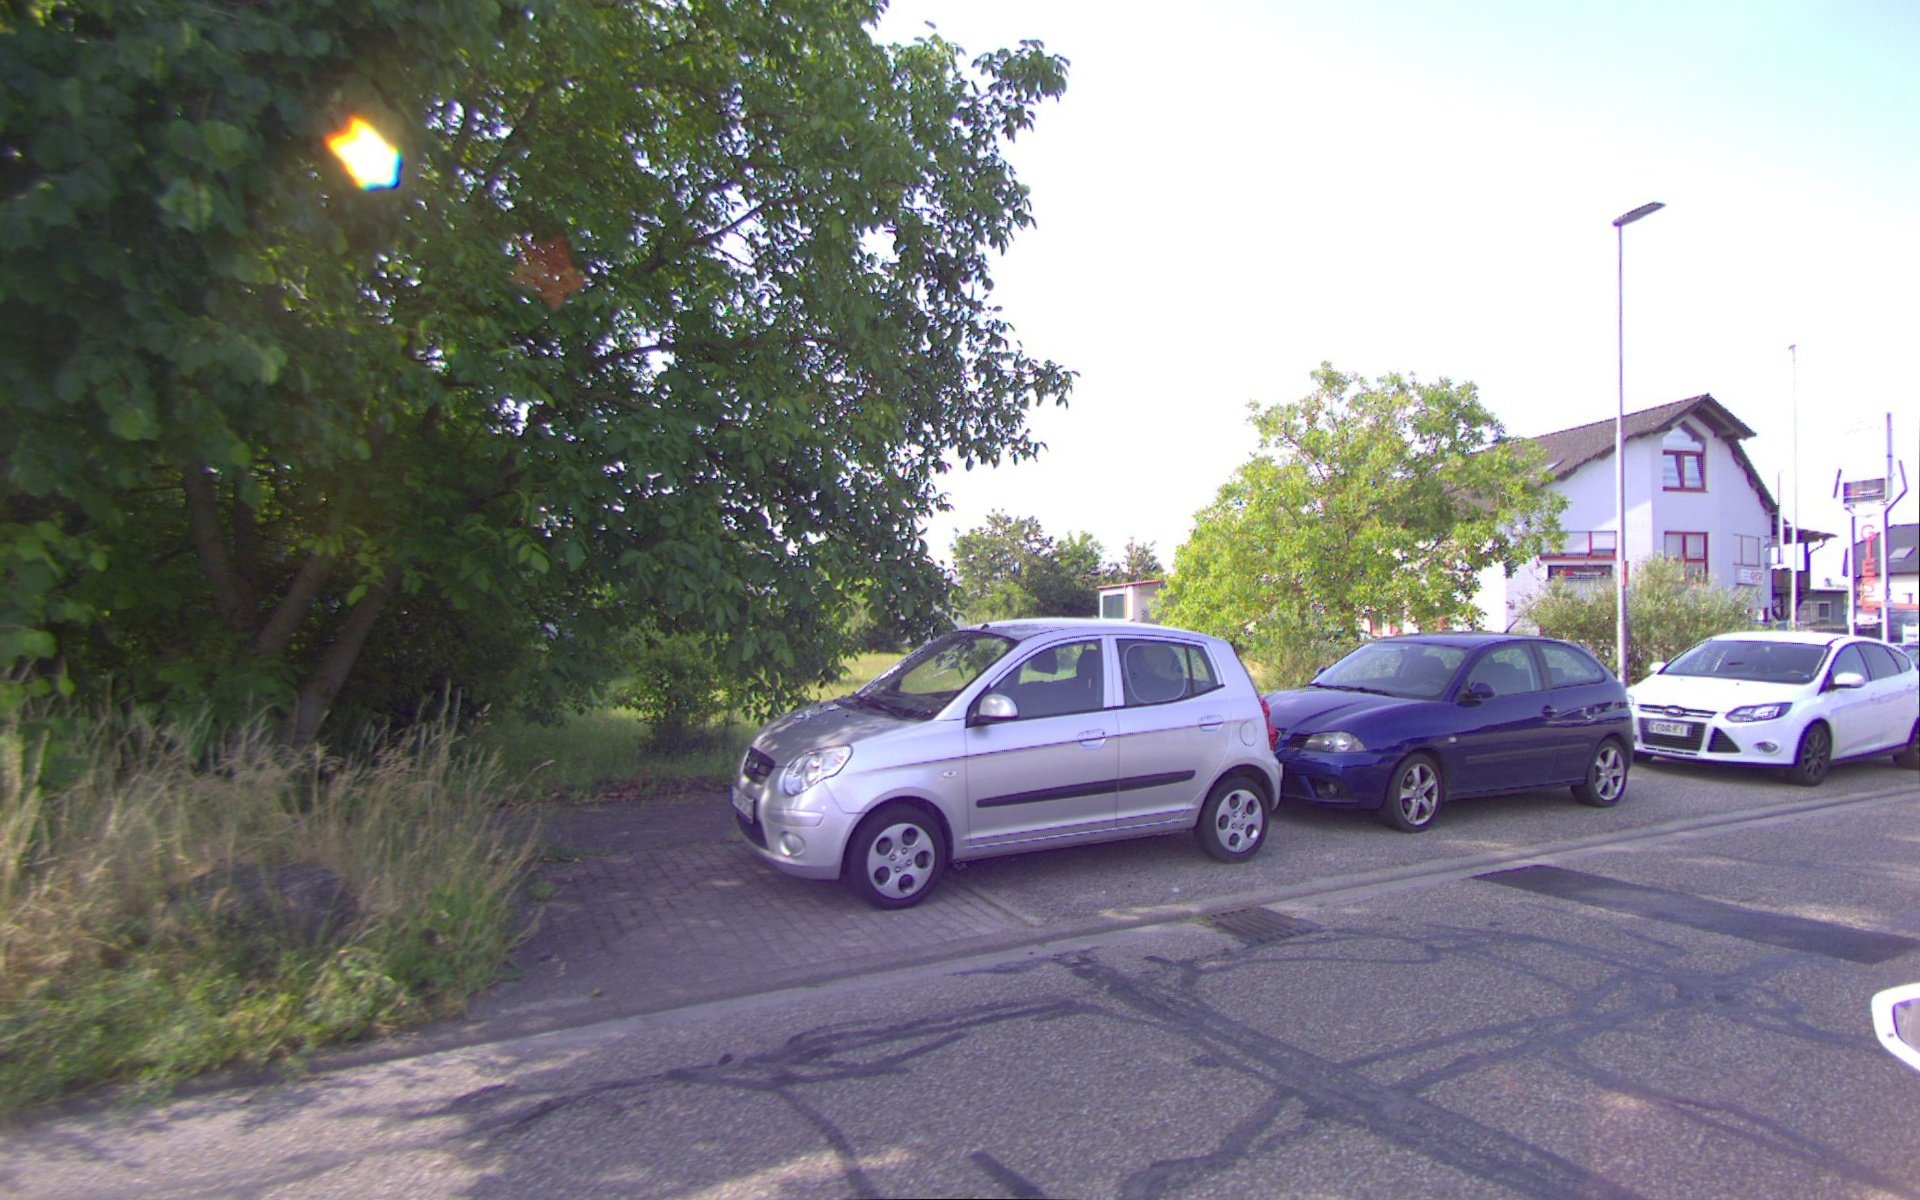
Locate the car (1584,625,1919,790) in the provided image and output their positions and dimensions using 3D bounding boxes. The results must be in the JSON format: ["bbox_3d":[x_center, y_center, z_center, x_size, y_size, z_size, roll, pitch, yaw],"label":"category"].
[{"bbox_3d":[8.947,1.042,11.067,4.201,1.489,1.676,1,0,-29],"label":"car"}]

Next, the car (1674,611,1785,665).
[{"bbox_3d":[25.211,1.228,32.894,3.430,1.684,1.540,0,-2,-27],"label":"car"}]

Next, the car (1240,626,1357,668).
[{"bbox_3d":[16.265,2.263,48.391,5.176,1.940,1.844,-1,-2,19],"label":"car"}]

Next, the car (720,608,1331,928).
[{"bbox_3d":[0.449,0.853,6.457,3.639,1.559,1.561,1,0,-26],"label":"car"}]

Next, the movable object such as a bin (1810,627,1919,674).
[{"bbox_3d":[25.787,1.364,27.606,1.734,1.162,3.319,0,0,-19],"label":"movable object such as a bin"}]

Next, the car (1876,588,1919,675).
[{"bbox_3d":[28.451,0.866,27.485,1.973,2.448,4.613,1,-2,-26],"label":"car"}]

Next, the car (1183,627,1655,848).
[{"bbox_3d":[3.922,0.979,8.468,3.913,1.463,1.572,1,0,-28],"label":"car"}]

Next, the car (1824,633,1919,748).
[{"bbox_3d":[13.950,1.186,13.912,4.316,1.406,1.626,1,0,-29],"label":"car"}]
